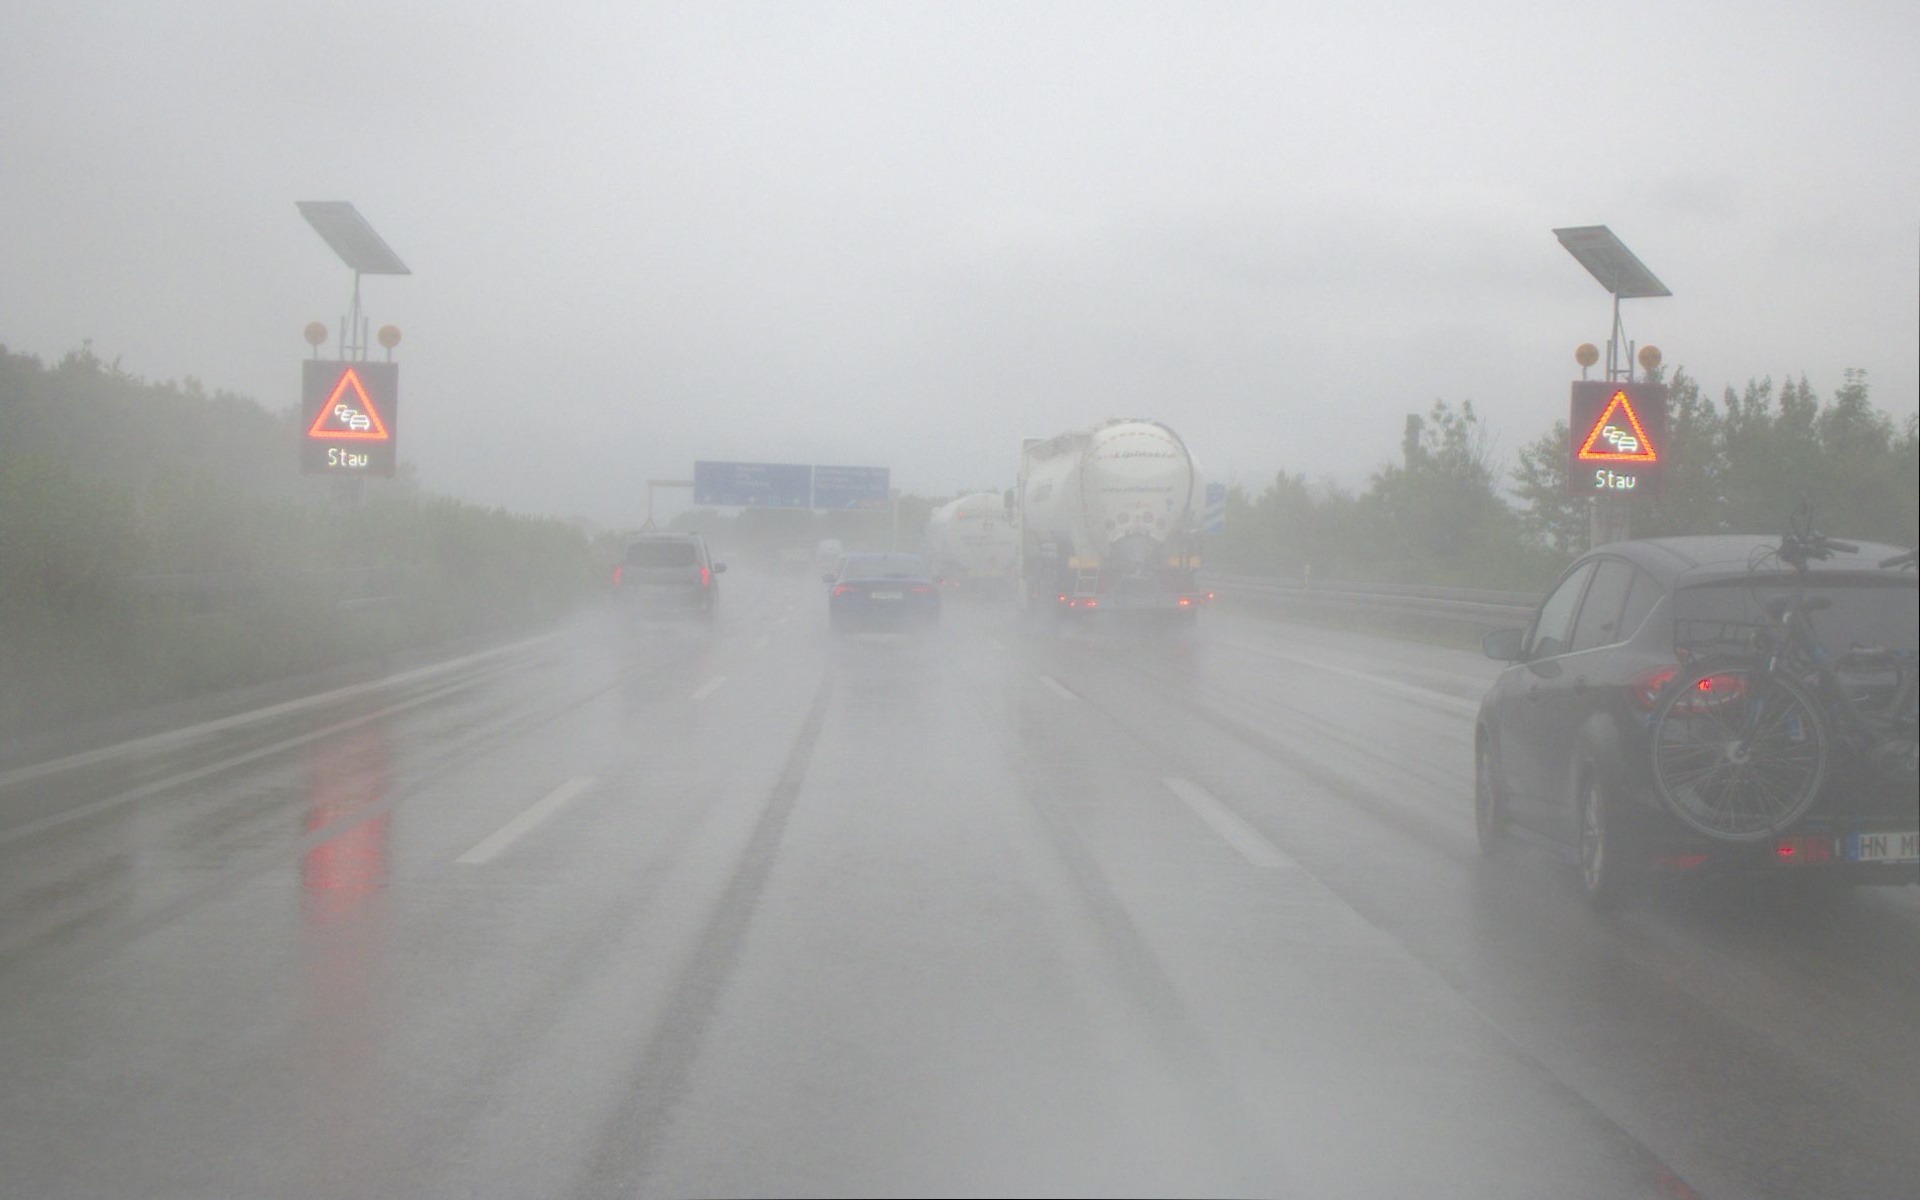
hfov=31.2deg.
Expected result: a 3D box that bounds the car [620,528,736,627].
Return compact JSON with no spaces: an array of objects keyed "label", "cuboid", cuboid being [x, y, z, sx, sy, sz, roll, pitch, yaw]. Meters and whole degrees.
[{"label":"car","cuboid":[-5.123,-0.436,62.899,1.925,1.735,4.404,1,1,-2]}]

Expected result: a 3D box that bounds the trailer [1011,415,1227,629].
[{"label":"trailer","cuboid":[2.821,-1.460,64.920,3.188,3.657,11.668,0,1,-2]}]

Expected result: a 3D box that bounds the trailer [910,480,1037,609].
[{"label":"trailer","cuboid":[0.357,-1.779,108.149,3.004,3.834,8.625,1,1,-6]}]

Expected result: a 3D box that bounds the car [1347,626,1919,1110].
[{"label":"car","cuboid":[3.346,1.068,16.222,2.457,1.740,5.719,1,1,1]}]

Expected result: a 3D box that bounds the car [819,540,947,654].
[{"label":"car","cuboid":[-1.261,-0.087,55.609,1.978,1.750,4.482,0,1,-2]}]
